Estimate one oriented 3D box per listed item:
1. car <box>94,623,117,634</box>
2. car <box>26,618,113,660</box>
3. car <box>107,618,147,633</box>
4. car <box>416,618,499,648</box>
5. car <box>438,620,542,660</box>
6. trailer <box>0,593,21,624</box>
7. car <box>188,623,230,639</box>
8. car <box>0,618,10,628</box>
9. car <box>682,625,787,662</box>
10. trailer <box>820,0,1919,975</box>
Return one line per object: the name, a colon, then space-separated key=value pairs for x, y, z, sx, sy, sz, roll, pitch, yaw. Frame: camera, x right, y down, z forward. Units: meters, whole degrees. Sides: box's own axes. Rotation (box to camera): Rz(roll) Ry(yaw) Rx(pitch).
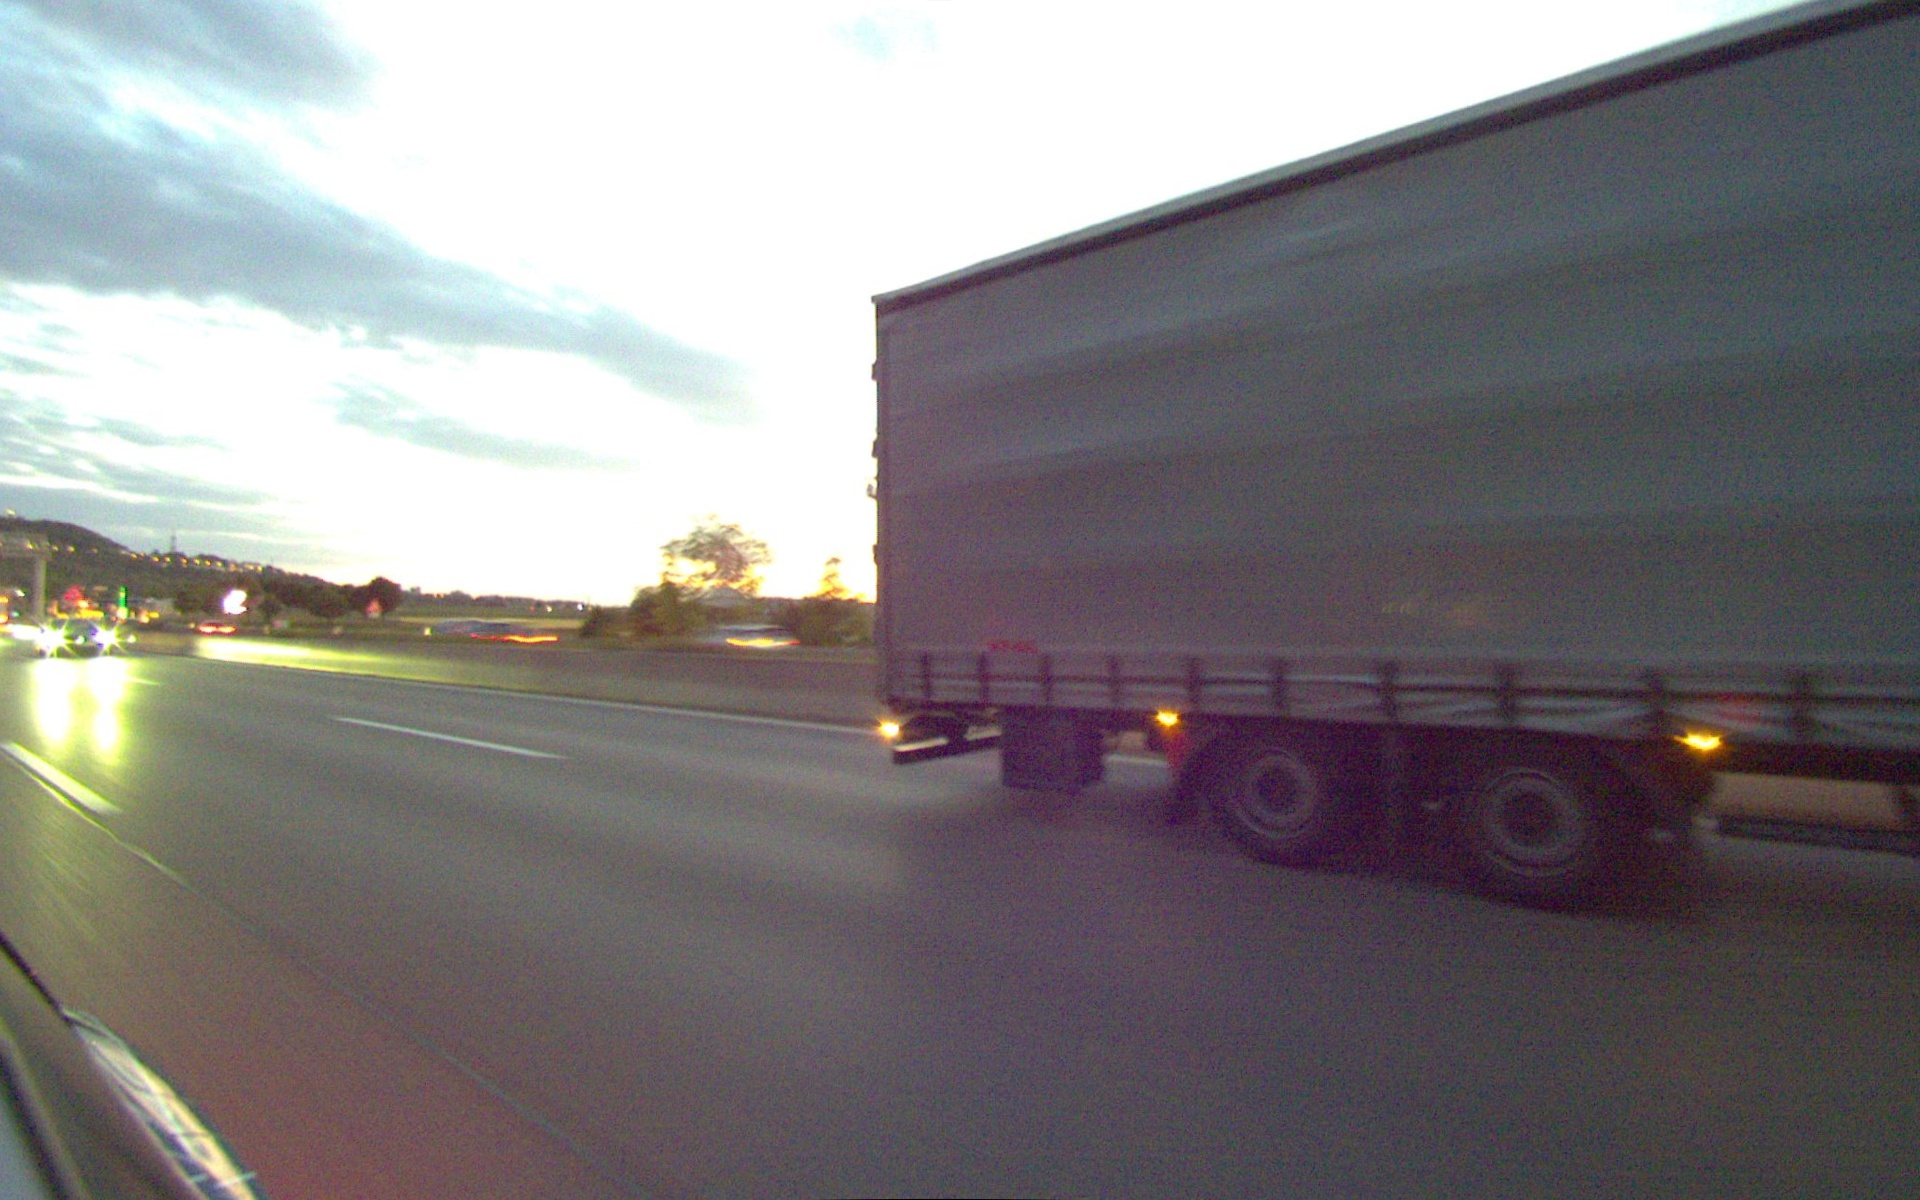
car: x=-96.489 y=3.242 z=114.296 sx=3.608 sy=1.200 sz=1.520 roll=-1 pitch=0 yaw=42
car: x=-34.119 y=1.445 z=38.709 sx=5.391 sy=1.448 sz=1.795 roll=-1 pitch=0 yaw=41
car: x=-59.359 y=1.784 z=72.091 sx=3.564 sy=0.996 sz=1.675 roll=-1 pitch=0 yaw=41
car: x=-22.174 y=1.430 z=44.606 sx=3.998 sy=1.187 sz=1.911 roll=-1 pitch=0 yaw=41
car: x=-15.687 y=1.299 z=33.694 sx=3.998 sy=1.187 sz=1.648 roll=-1 pitch=0 yaw=41
trailer: x=-185.675 y=1.682 z=194.834 sx=19.207 sy=5.829 sz=5.248 roll=-1 pitch=0 yaw=42
car: x=-54.314 y=2.218 z=73.135 sx=4.523 sy=0.996 sz=1.563 roll=-1 pitch=0 yaw=41
car: x=-124.314 y=3.021 z=130.844 sx=3.999 sy=1.213 sz=1.843 roll=-1 pitch=0 yaw=42
car: x=-8.233 y=1.560 z=36.786 sx=3.998 sy=1.187 sz=1.700 roll=-1 pitch=0 yaw=41
trailer: x=5.206 y=-0.619 z=4.353 sx=14.520 sy=4.116 sz=2.764 roll=-1 pitch=-1 yaw=42
